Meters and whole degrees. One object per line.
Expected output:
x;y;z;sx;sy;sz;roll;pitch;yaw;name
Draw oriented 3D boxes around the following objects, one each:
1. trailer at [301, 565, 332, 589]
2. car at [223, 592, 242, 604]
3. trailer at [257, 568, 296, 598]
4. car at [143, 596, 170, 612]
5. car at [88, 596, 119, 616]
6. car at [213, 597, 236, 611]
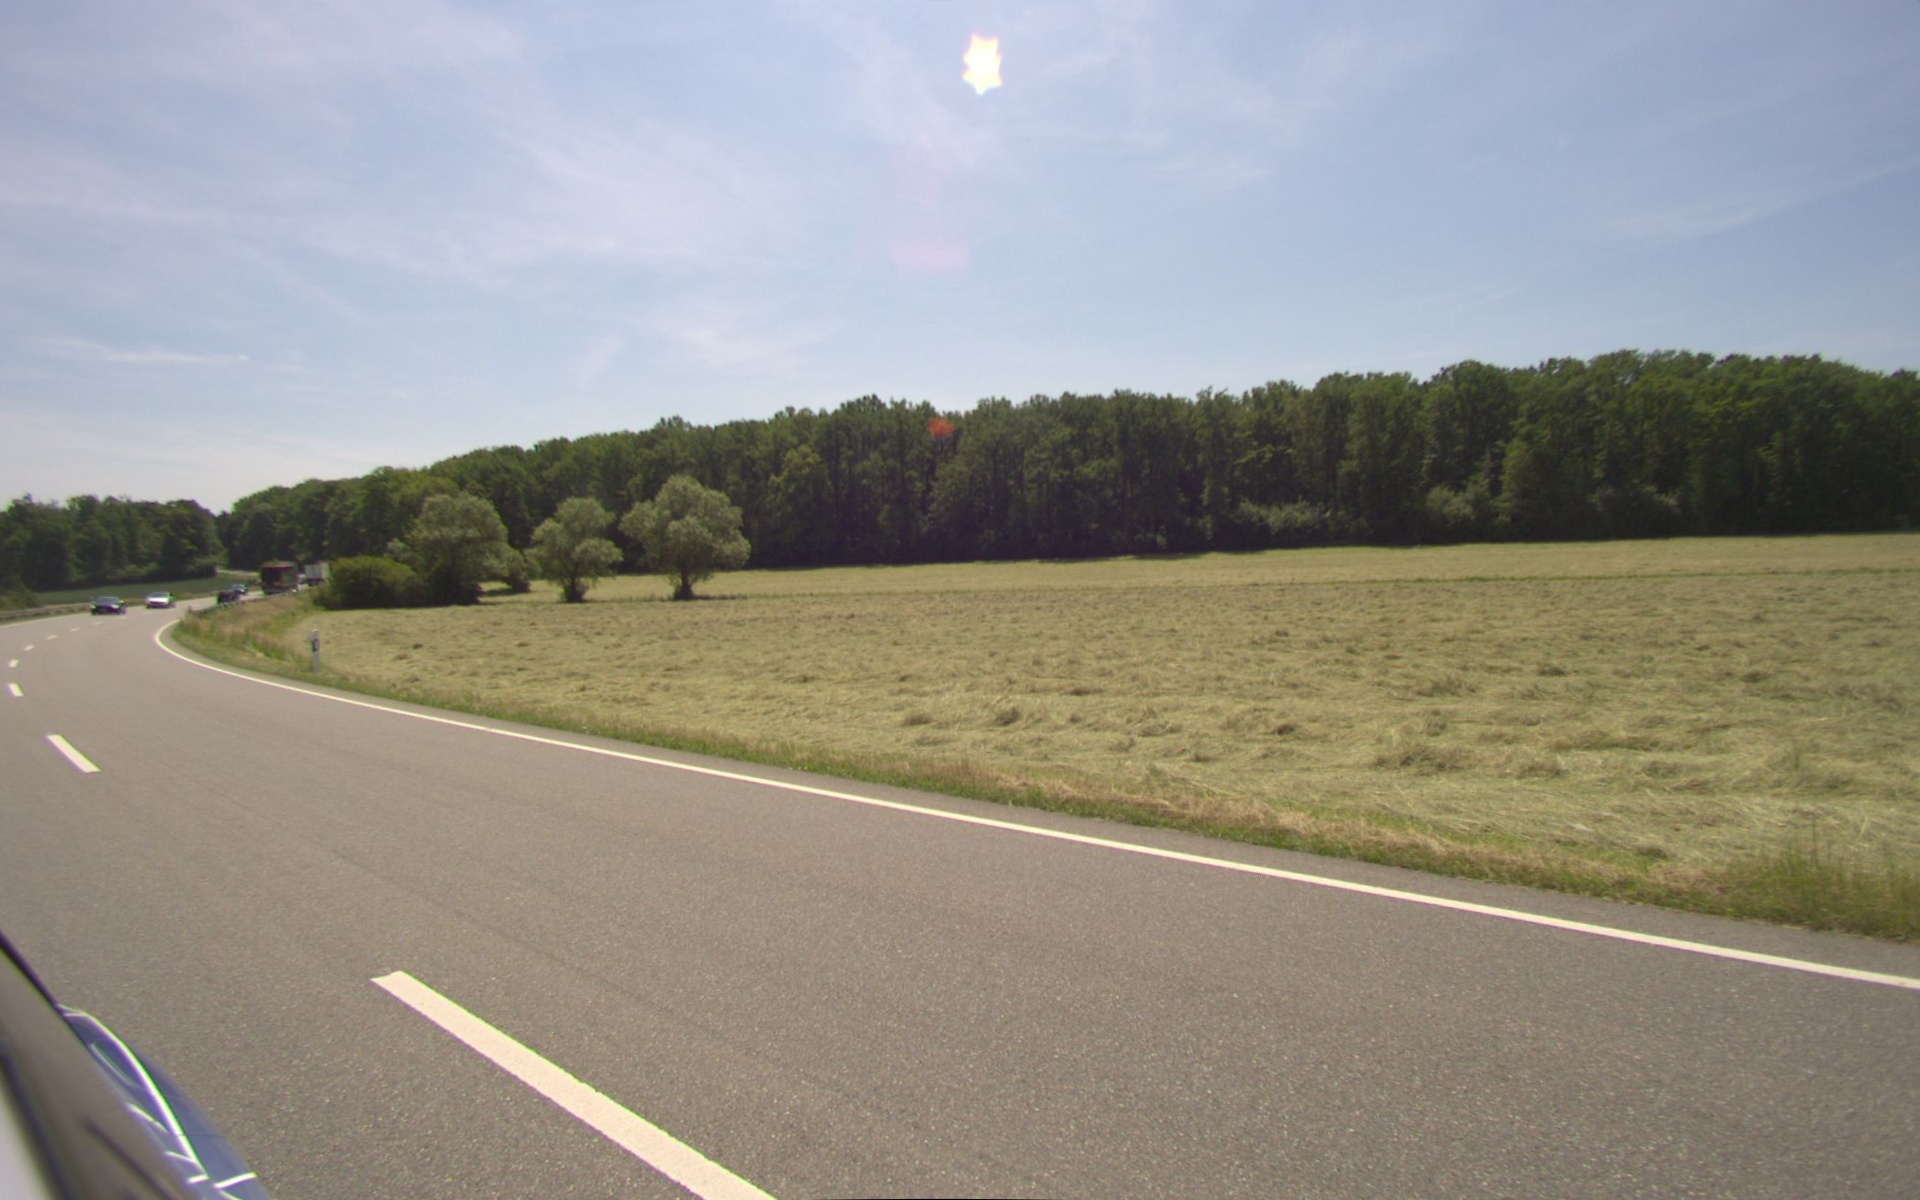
-121.818;-4.311;191.800;3.326;4.433;13.792;0;1;-26;trailer
-101.775;-0.278;141.574;1.595;1.447;3.454;-2;2;-28;car
-100.904;-2.452;149.607;3.195;4.181;14.491;1;1;-27;trailer
-77.205;0.377;97.266;1.595;1.447;3.453;-2;2;-31;car
-68.594;0.471;81.111;1.596;1.447;3.451;-2;2;-36;car
-81.883;0.397;112.715;1.676;1.480;4.213;1;0;-30;car
